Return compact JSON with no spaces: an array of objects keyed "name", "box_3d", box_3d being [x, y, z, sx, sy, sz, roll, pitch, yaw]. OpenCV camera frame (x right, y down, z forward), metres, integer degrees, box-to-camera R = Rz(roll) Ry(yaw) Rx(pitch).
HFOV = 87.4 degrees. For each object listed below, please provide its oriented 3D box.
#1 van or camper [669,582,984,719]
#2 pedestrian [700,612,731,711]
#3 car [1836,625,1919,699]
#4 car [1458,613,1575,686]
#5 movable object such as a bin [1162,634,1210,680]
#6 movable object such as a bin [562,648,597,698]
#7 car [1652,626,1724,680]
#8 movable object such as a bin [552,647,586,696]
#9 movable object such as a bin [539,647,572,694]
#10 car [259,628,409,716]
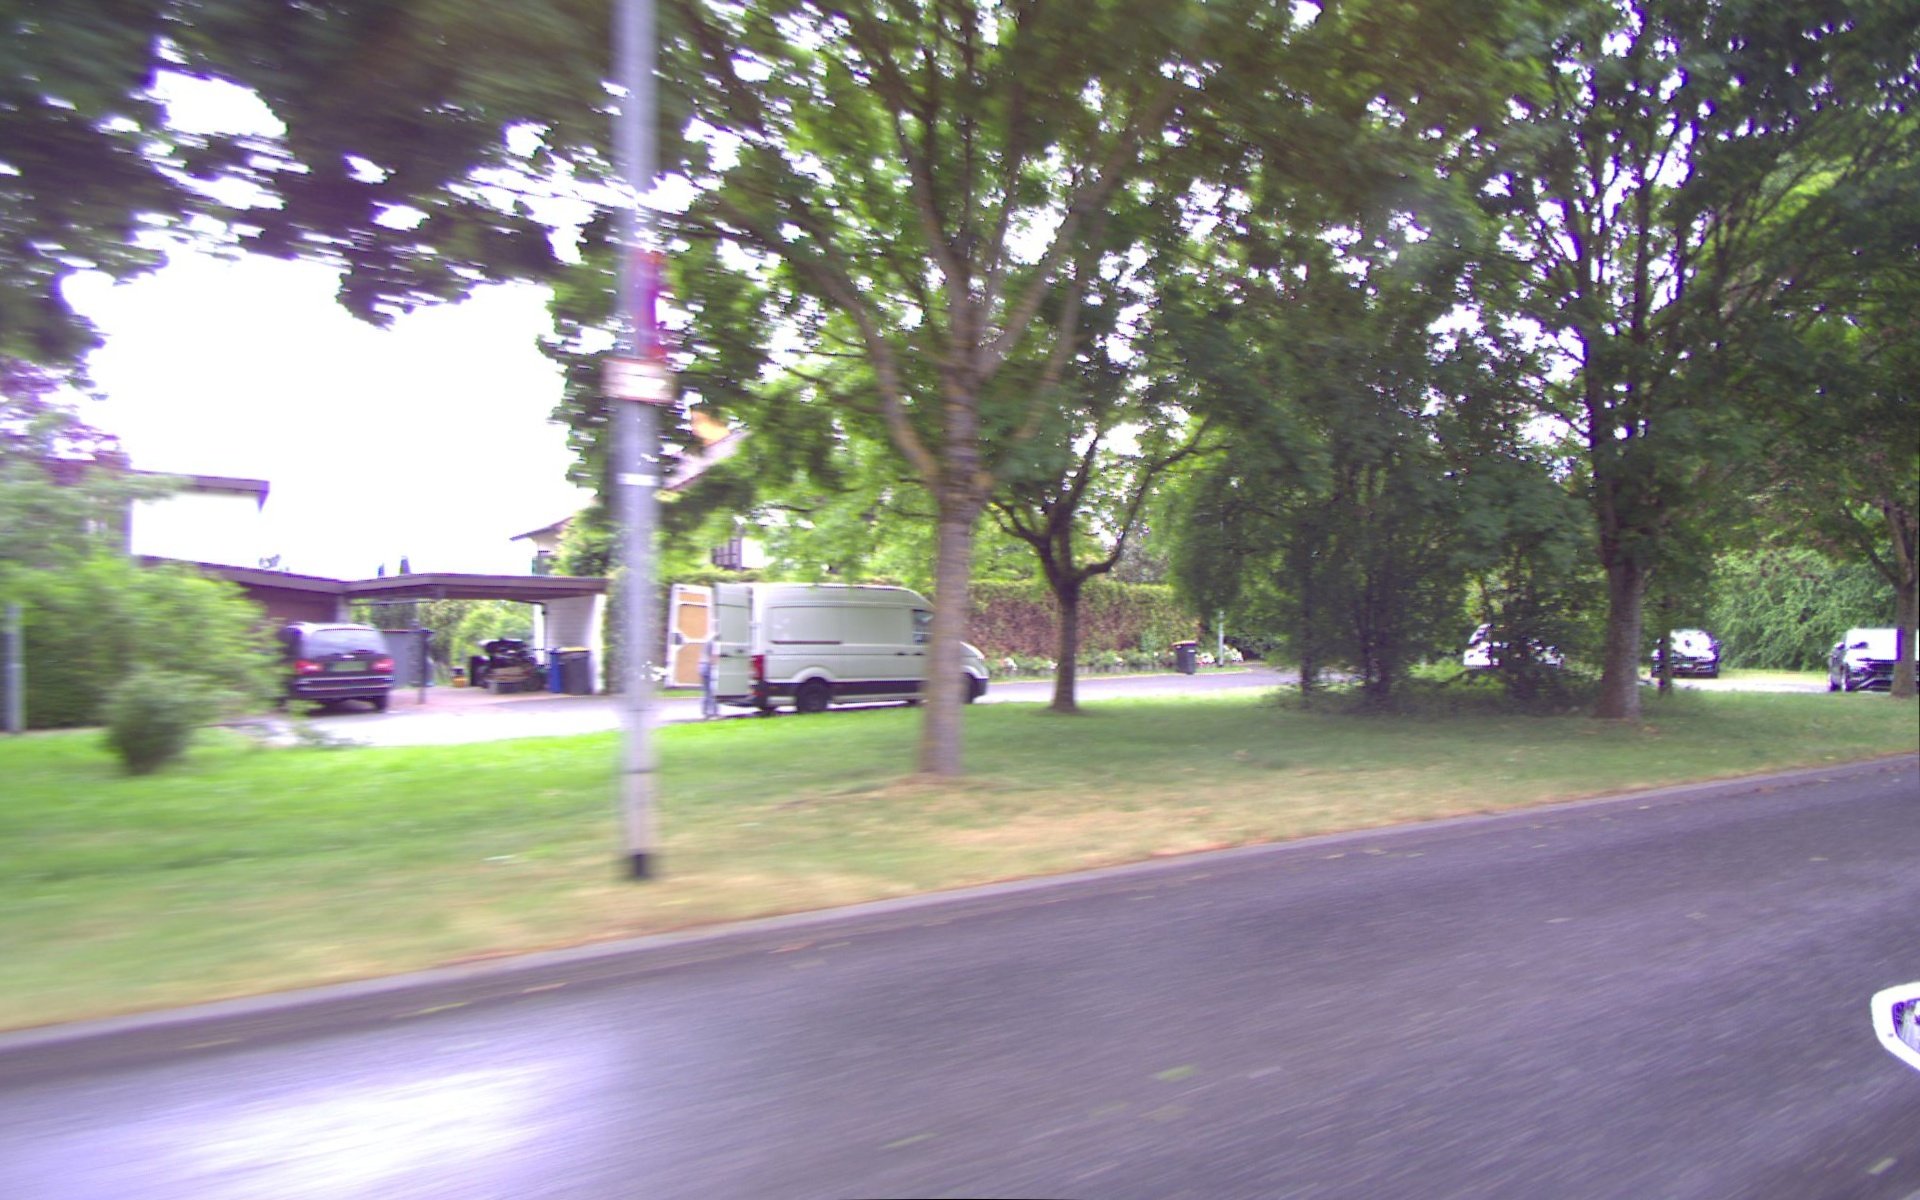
[{"name":"van or camper","box_3d":[-2.495,0.956,20.106,6.101,2.366,2.073,1,-2,-39]},{"name":"pedestrian","box_3d":[-4.514,1.132,18.569,0.396,1.806,0.480,1,-2,-38]},{"name":"car","box_3d":[21.120,1.338,22.522,4.220,1.534,1.870,2,-2,-44]},{"name":"car","box_3d":[15.269,1.390,27.431,1.881,1.793,4.876,-2,-4,40]},{"name":"movable object such as a bin","box_3d":[7.684,1.915,34.208,1.158,1.487,1.075,1,0,-38]},{"name":"movable object such as a bin","box_3d":[-8.657,1.653,22.861,0.545,1.072,0.650,-2,1,-39]},{"name":"car","box_3d":[24.522,1.717,33.804,1.838,1.529,4.589,-2,0,37]},{"name":"movable object such as a bin","box_3d":[-9.114,1.661,23.403,0.545,1.072,0.702,-2,1,-39]},{"name":"movable object such as a bin","box_3d":[-9.637,1.669,23.931,0.545,1.072,0.650,-2,1,-39]},{"name":"car","box_3d":[-12.902,1.396,20.609,1.890,1.615,3.949,2,-3,-43]}]
